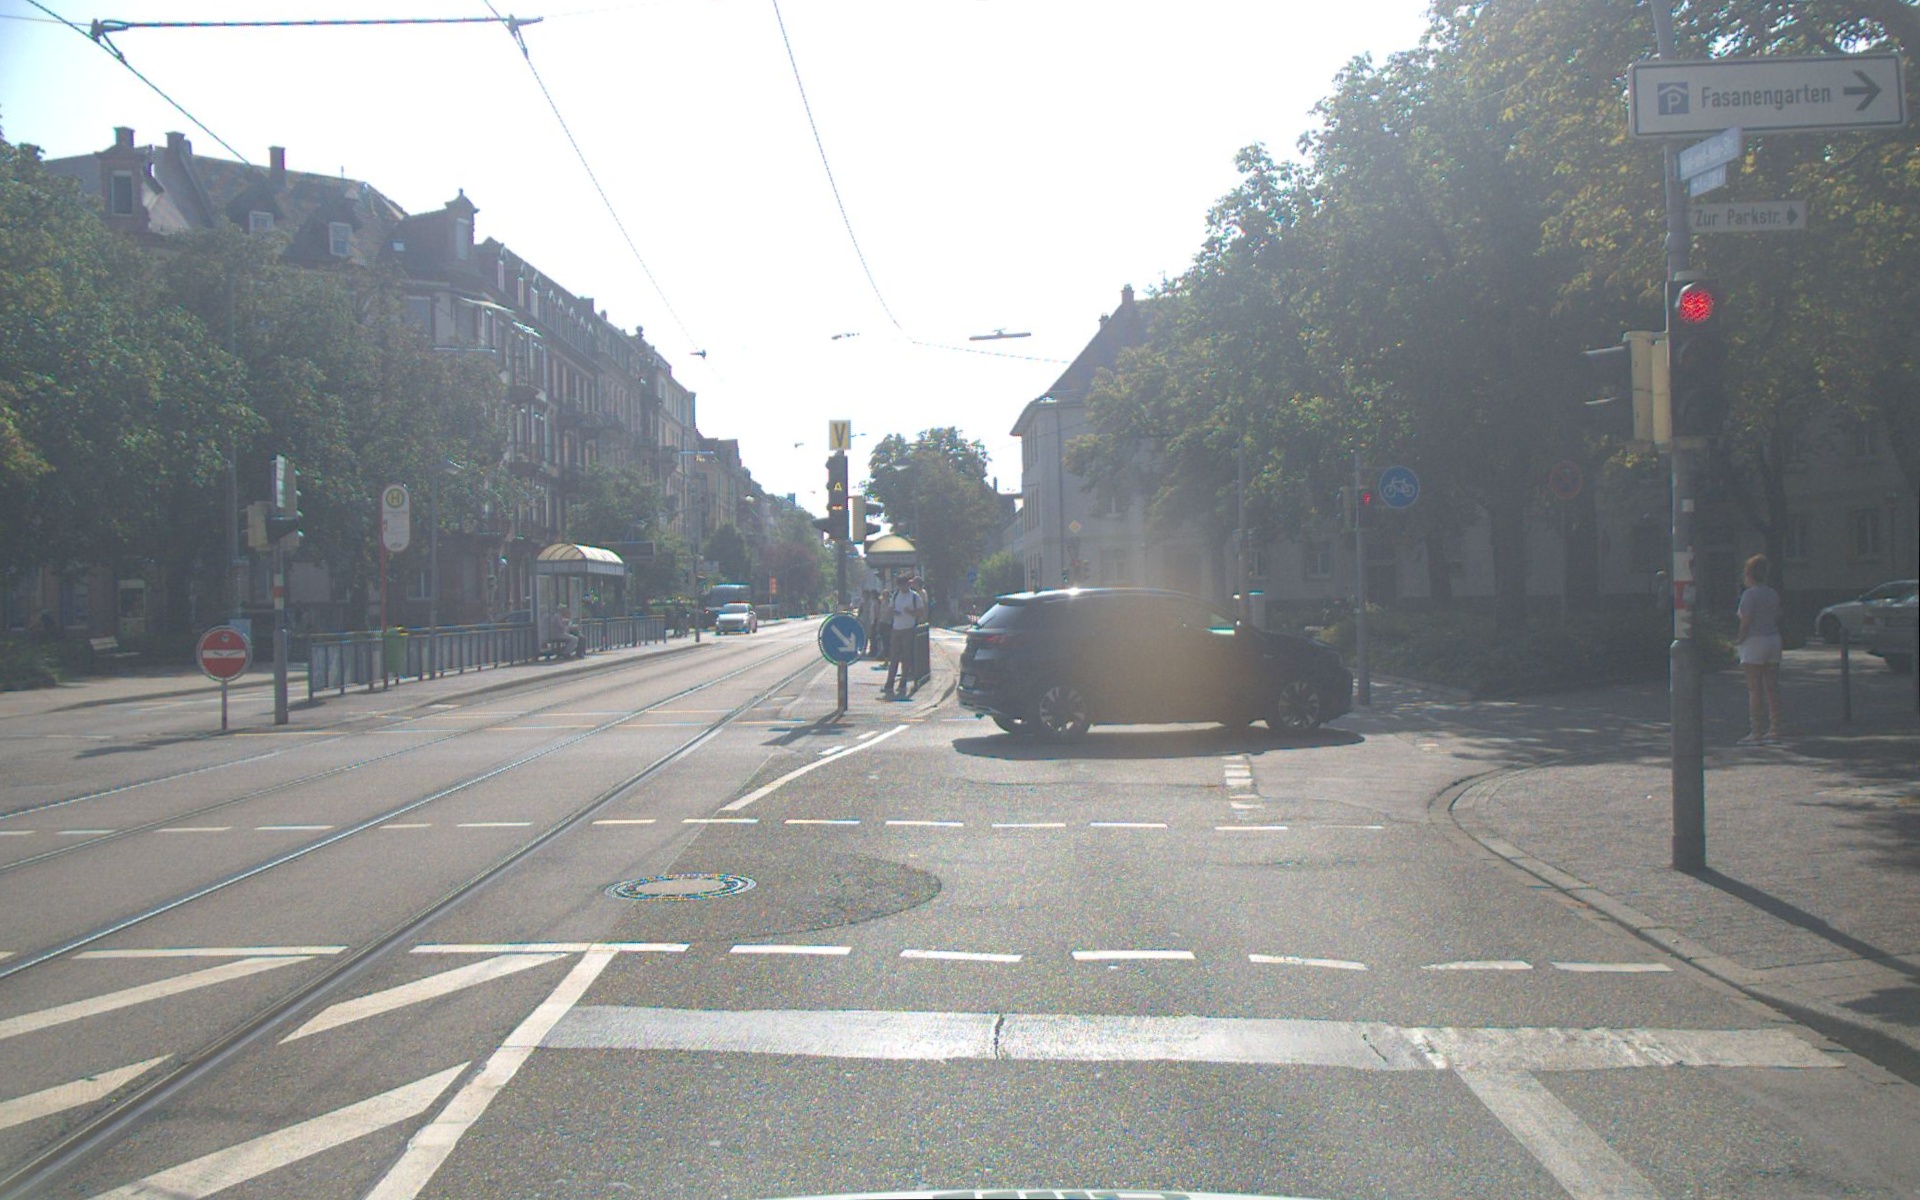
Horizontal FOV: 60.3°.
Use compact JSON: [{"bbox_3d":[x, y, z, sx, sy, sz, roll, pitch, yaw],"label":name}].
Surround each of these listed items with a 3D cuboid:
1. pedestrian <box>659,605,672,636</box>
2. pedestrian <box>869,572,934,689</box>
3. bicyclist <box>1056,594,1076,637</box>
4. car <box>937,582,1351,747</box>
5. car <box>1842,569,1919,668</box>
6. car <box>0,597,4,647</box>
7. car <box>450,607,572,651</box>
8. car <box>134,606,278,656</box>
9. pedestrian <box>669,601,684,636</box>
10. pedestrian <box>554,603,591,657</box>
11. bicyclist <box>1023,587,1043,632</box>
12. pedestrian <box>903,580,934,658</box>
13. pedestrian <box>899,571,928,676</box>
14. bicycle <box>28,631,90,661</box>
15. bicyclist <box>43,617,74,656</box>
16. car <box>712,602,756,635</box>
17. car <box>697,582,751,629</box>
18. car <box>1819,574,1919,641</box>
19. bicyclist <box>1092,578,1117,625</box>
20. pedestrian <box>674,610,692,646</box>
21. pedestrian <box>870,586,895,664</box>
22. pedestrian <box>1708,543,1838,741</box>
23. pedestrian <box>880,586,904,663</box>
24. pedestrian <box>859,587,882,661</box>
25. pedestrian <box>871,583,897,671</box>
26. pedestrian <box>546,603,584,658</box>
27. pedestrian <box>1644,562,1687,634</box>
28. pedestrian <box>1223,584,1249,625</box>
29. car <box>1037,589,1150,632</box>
[{"bbox_3d":[-17.236,1.191,96.860,0.736,1.761,0.770,-1,0,-10],"label":"pedestrian"},{"bbox_3d":[-0.904,0.463,25.716,0.687,1.755,0.746,2,2,31],"label":"pedestrian"},{"bbox_3d":[3.648,0.520,56.823,0.547,1.441,0.871,-2,0,-3],"label":"bicyclist"},{"bbox_3d":[1.966,0.634,17.915,4.145,1.541,1.605,-2,1,-15],"label":"car"},{"bbox_3d":[16.820,0.257,27.059,4.713,1.491,1.854,-1,2,-27],"label":"car"},{"bbox_3d":[-38.026,0.883,61.719,3.904,1.860,2.000,-1,0,20],"label":"car"},{"bbox_3d":[-17.827,1.131,65.684,4.286,1.596,1.976,-1,0,-35],"label":"car"},{"bbox_3d":[-26.591,1.068,58.354,4.292,1.596,1.973,-1,0,-38],"label":"car"},{"bbox_3d":[-14.579,0.943,84.987,0.736,1.761,0.770,-1,0,-10],"label":"pedestrian"},{"bbox_3d":[-10.101,0.772,43.107,0.812,1.382,0.775,-1,0,-6],"label":"pedestrian"},{"bbox_3d":[2.523,0.330,57.268,0.616,1.534,0.678,-2,0,-3],"label":"bicyclist"},{"bbox_3d":[-0.973,0.445,38.881,0.694,1.790,0.534,1,2,-1],"label":"pedestrian"},{"bbox_3d":[-0.839,0.419,29.984,0.494,1.866,0.534,1,2,-1],"label":"pedestrian"},{"bbox_3d":[-31.881,1.632,58.567,1.819,0.974,0.546,-2,0,-14],"label":"bicycle"},{"bbox_3d":[-31.925,1.297,58.586,0.805,1.351,0.546,-2,0,-16],"label":"bicyclist"},{"bbox_3d":[-11.783,0.947,86.294,1.765,1.682,3.642,-1,0,-1],"label":"car"},{"bbox_3d":[-14.424,0.322,101.449,2.298,2.708,5.106,-1,0,2],"label":"car"},{"bbox_3d":[21.512,0.152,37.209,1.721,1.453,4.136,-2,0,-10],"label":"car"},{"bbox_3d":[5.985,0.064,68.620,0.965,1.890,0.493,-1,0,9],"label":"bicyclist"},{"bbox_3d":[-13.868,1.402,82.855,0.734,1.761,0.771,-1,0,1],"label":"pedestrian"},{"bbox_3d":[-1.814,0.580,38.673,0.532,1.790,0.534,1,2,-1],"label":"pedestrian"},{"bbox_3d":[7.509,0.375,15.305,0.736,1.761,0.770,-1,0,-10],"label":"pedestrian"},{"bbox_3d":[-1.626,0.574,39.486,0.532,1.790,0.534,1,2,-1],"label":"pedestrian"},{"bbox_3d":[-2.207,0.581,40.891,0.521,1.790,0.545,1,2,0],"label":"pedestrian"},{"bbox_3d":[-1.586,0.561,34.670,0.494,1.790,0.534,1,2,-1],"label":"pedestrian"},{"bbox_3d":[-10.054,0.769,42.131,0.812,1.382,0.775,-1,0,-6],"label":"pedestrian"},{"bbox_3d":[17.613,-0.051,41.326,0.872,1.771,0.776,-1,0,18],"label":"pedestrian"},{"bbox_3d":[12.077,0.211,72.334,0.875,1.771,0.774,-2,0,31],"label":"pedestrian"},{"bbox_3d":[5.363,0.421,66.169,4.230,1.596,2.002,-1,0,14],"label":"car"}]
